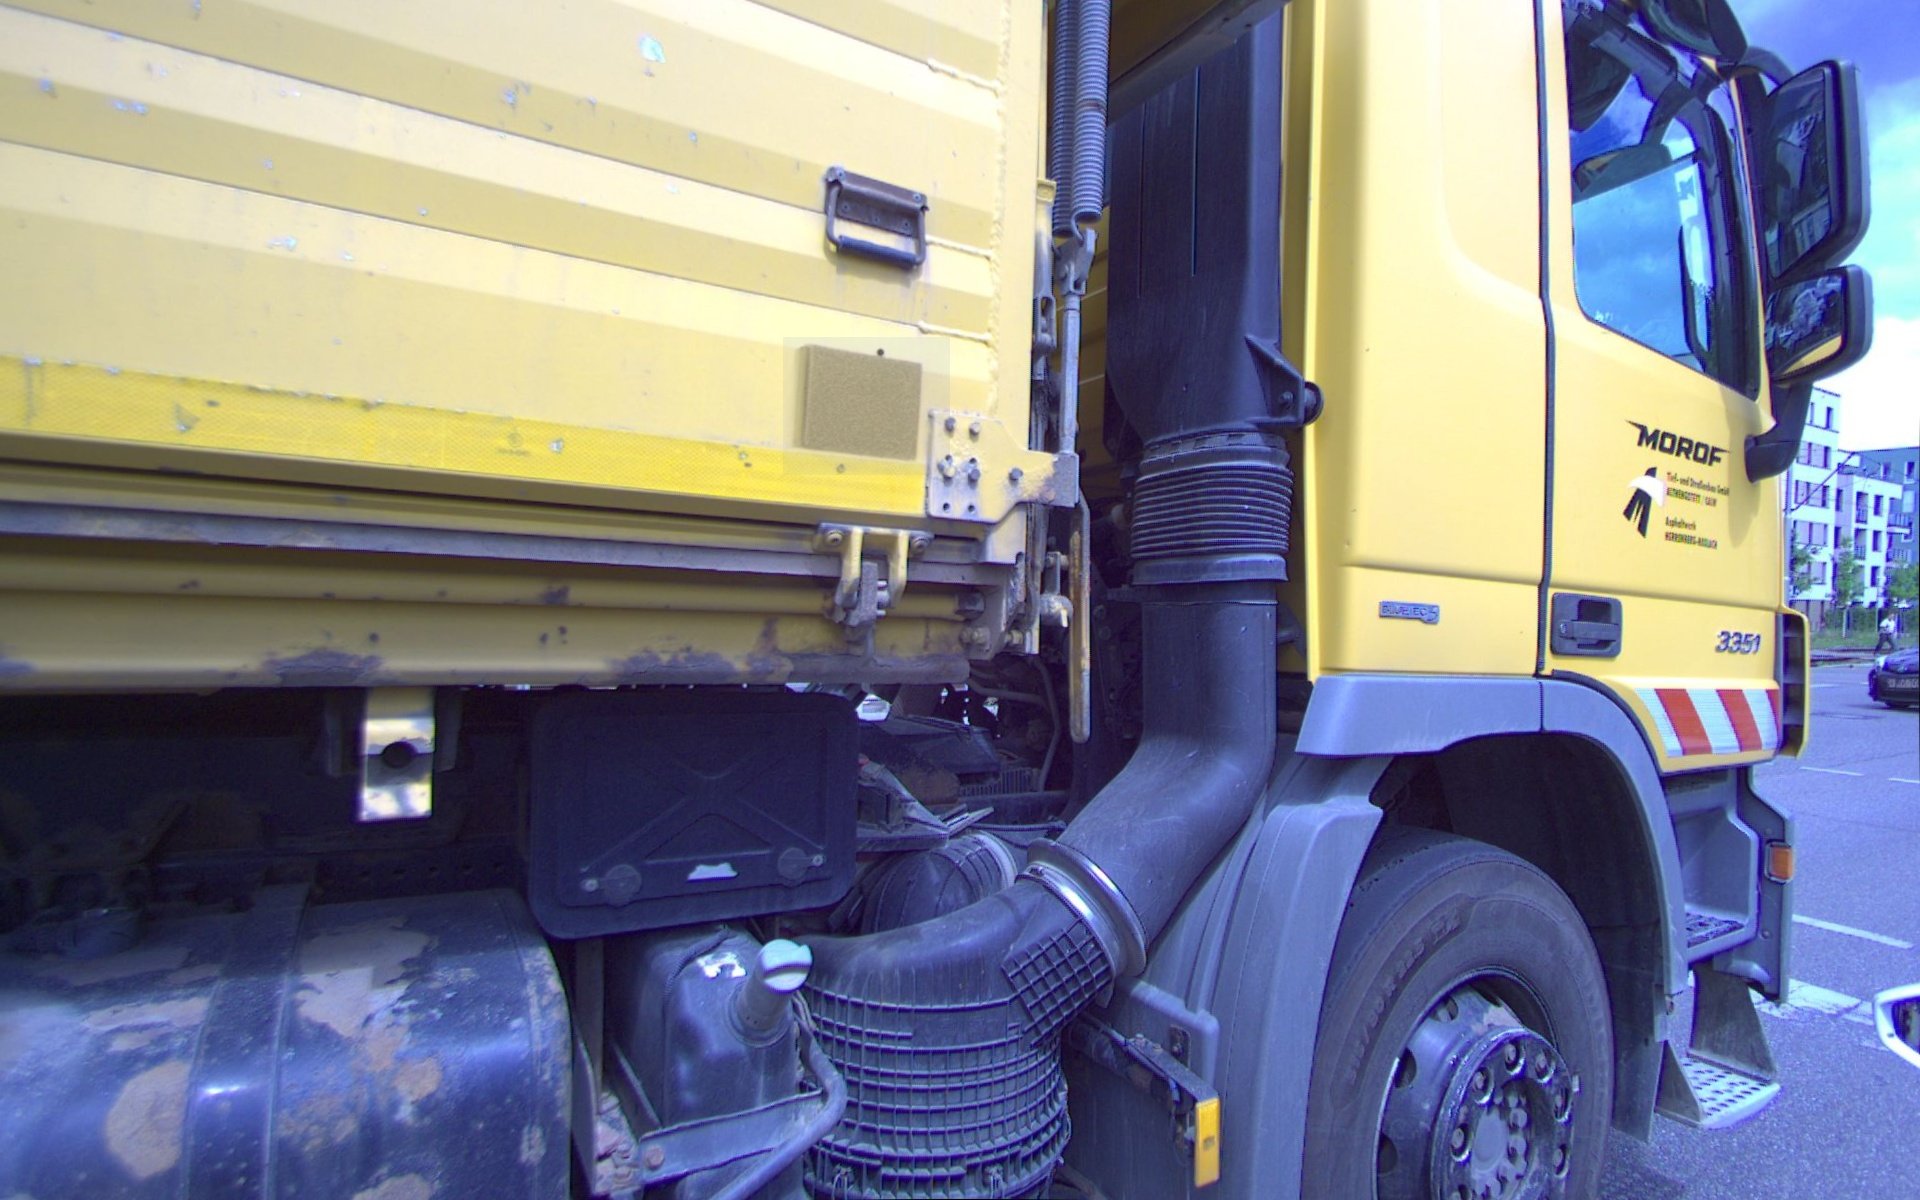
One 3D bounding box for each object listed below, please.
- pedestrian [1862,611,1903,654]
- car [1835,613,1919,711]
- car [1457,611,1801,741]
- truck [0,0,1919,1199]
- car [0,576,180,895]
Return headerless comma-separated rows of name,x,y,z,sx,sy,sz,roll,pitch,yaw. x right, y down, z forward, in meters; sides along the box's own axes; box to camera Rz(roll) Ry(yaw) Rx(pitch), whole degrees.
pedestrian,35.557,1.251,38.726,0.835,1.607,0.795,2,0,-4
car,16.699,0.991,16.047,3.965,1.489,1.782,1,0,-2
car,8.747,0.904,13.112,4.218,1.460,1.757,1,0,-24
truck,-1.542,-0.043,1.589,7.688,3.043,2.707,2,0,-30
car,-6.027,0.608,4.702,3.524,1.477,1.692,1,0,-30
